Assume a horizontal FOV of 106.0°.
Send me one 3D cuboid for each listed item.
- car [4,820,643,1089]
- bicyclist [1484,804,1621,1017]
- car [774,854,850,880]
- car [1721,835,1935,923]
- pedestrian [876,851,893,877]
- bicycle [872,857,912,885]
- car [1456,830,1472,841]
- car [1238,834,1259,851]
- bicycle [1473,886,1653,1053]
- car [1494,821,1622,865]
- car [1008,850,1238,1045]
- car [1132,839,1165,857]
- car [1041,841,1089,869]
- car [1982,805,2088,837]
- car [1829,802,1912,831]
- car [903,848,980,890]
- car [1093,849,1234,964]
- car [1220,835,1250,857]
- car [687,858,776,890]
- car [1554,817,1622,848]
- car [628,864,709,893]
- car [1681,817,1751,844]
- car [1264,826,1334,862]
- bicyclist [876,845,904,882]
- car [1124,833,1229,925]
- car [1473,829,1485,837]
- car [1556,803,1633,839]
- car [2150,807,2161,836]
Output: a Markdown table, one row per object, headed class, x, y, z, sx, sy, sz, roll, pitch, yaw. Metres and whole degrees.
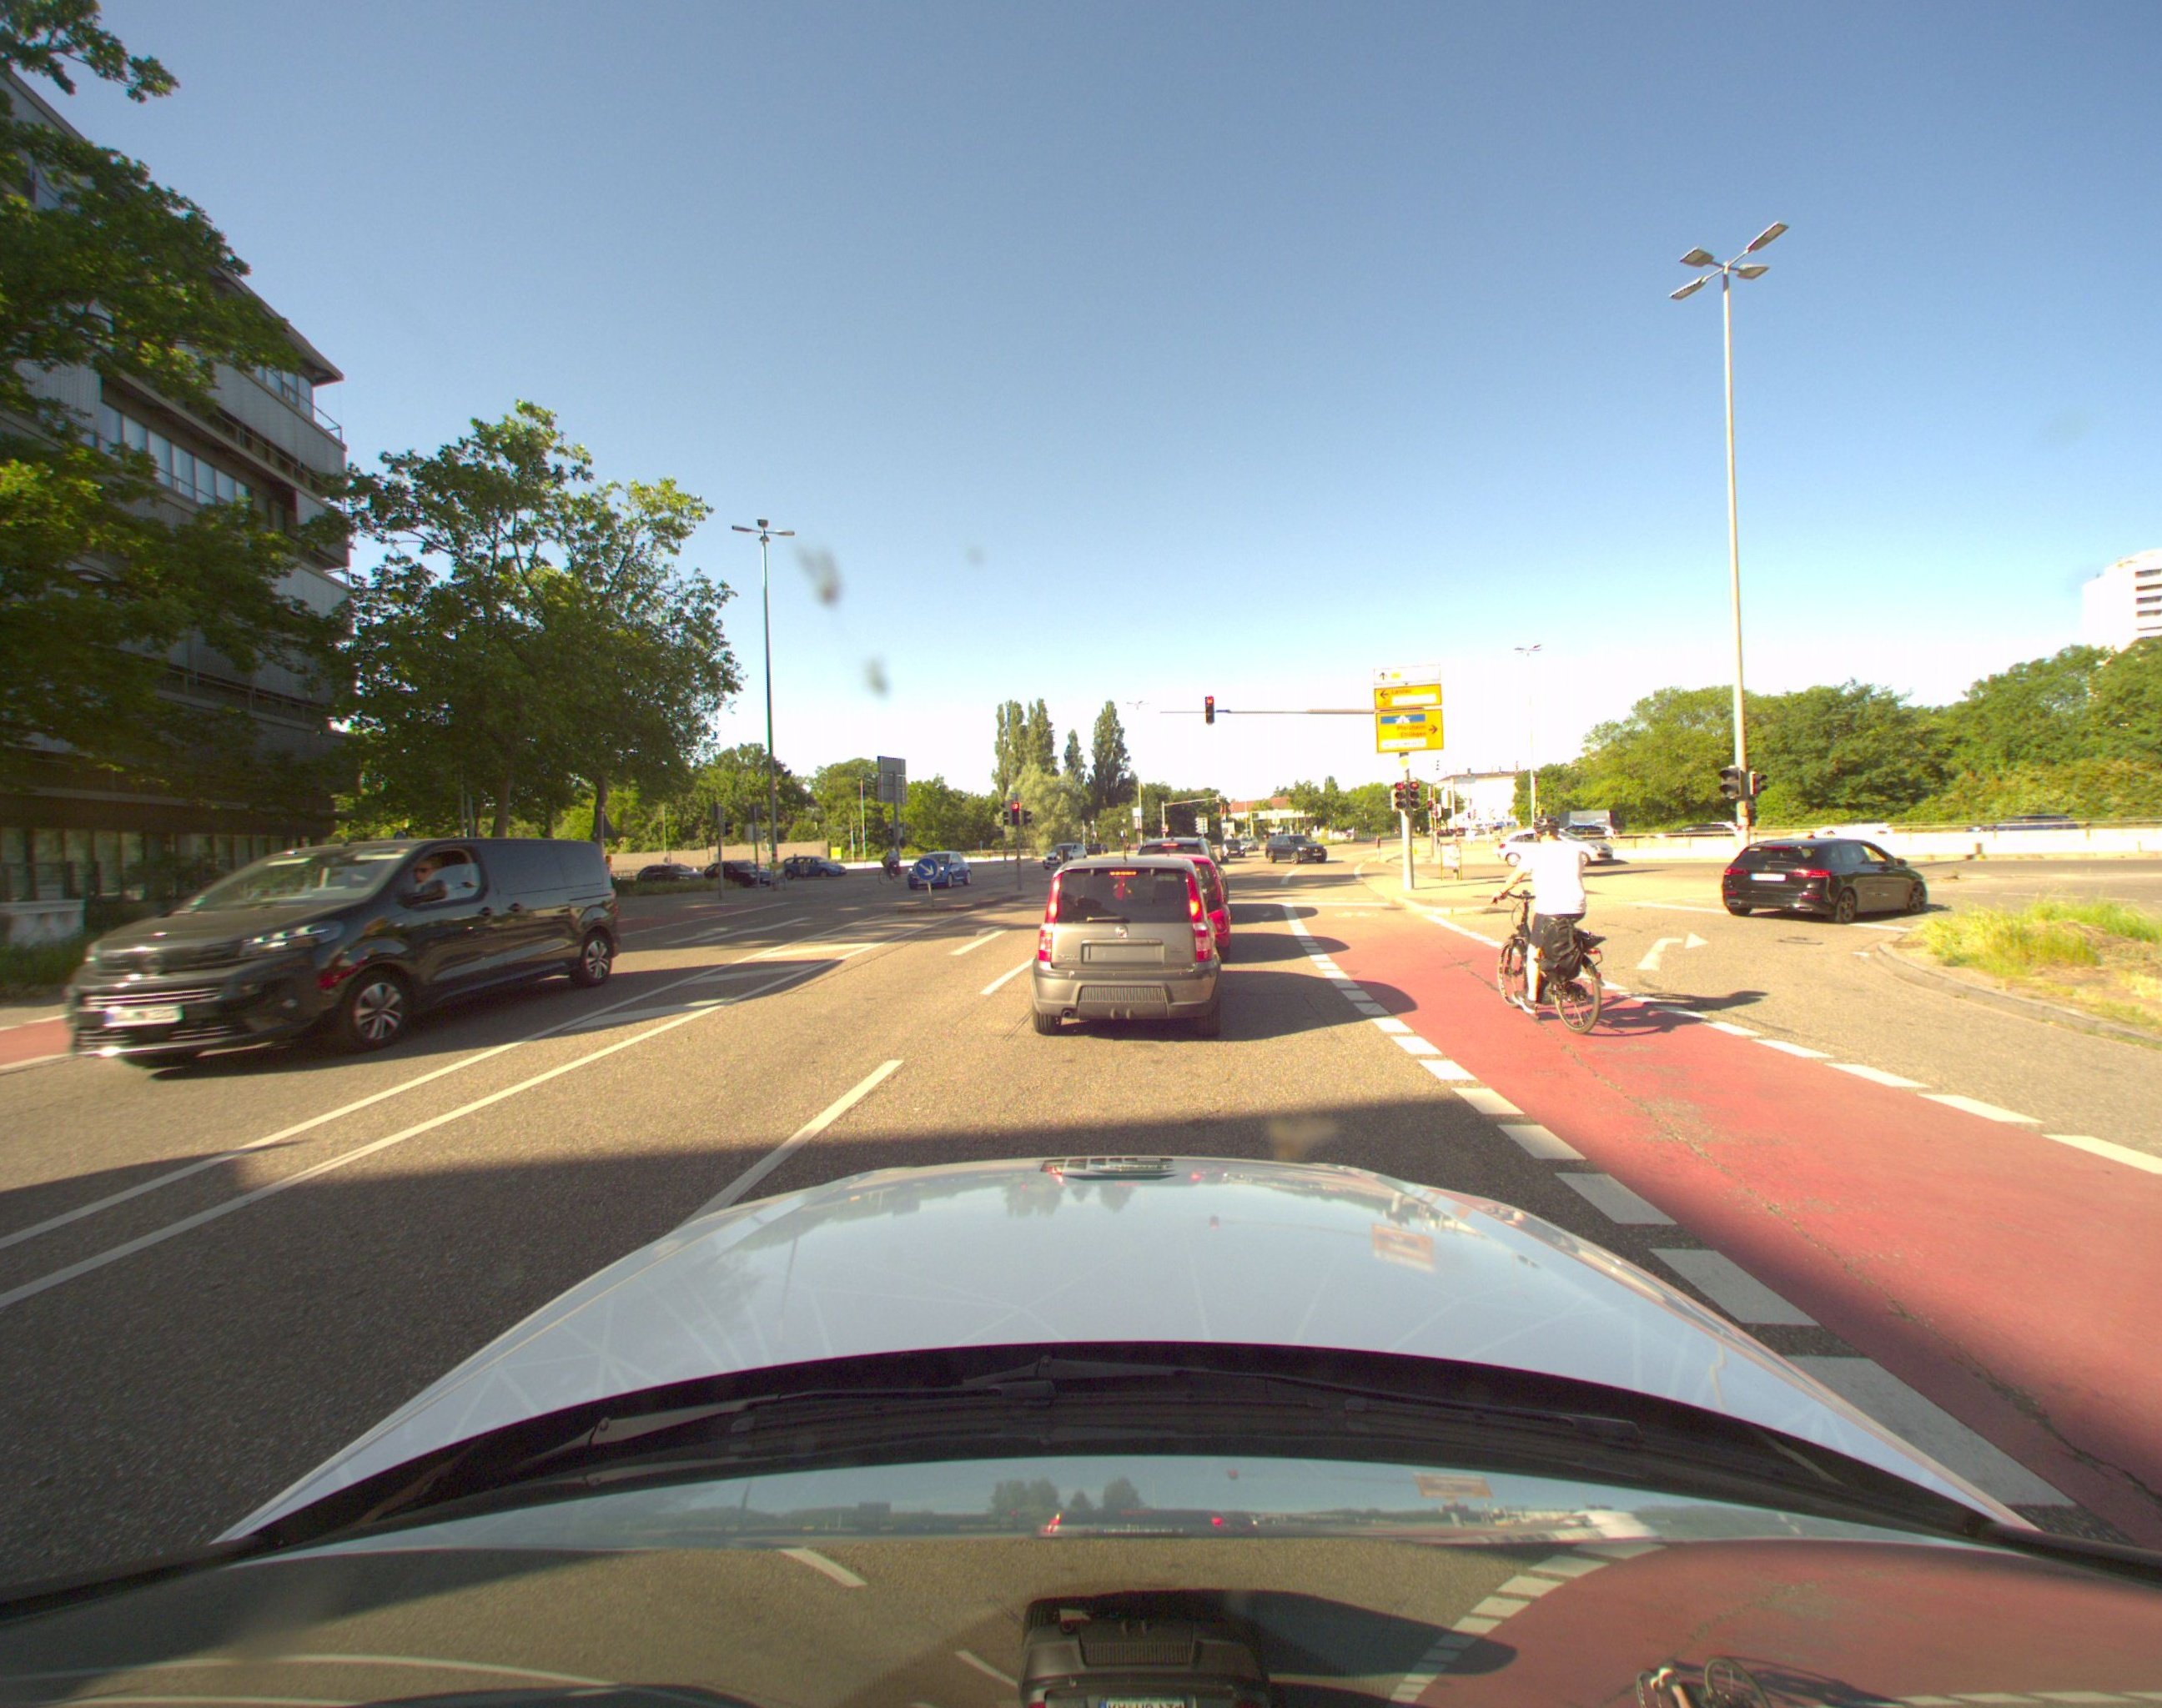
| class | x | y | z | sx | sy | sz | roll | pitch | yaw |
| --- | --- | --- | --- | --- | --- | --- | --- | --- | --- |
| car | -6.981 | 0.724 | 8.527 | 1.986 | 1.935 | 4.853 | -2 | 1 | 1 |
| bicyclist | 4.094 | 0.450 | 7.155 | 0.793 | 1.705 | 1.090 | -1 | 0 | 16 |
| car | -17.564 | 0.854 | 53.200 | 4.403 | 1.438 | 1.834 | -3 | 0 | 15 |
| car | 14.429 | 0.402 | 15.720 | 4.008 | 1.493 | 1.742 | -1 | 1 | -27 |
| pedestrian | -11.986 | 0.637 | 49.771 | 0.684 | 1.538 | 1.366 | -1 | -3 | 1 |
| bicycle | -9.054 | 0.791 | 39.103 | 0.681 | 1.202 | 2.338 | -2 | 1 | 18 |
| car | 66.941 | -3.182 | 142.269 | 1.974 | 1.794 | 4.025 | -2 | -2 | 32 |
| car | 16.308 | -1.160 | 79.158 | 1.738 | 1.493 | 4.366 | -1 | 2 | 14 |
| bicycle | 4.102 | 0.886 | 7.165 | 0.793 | 1.110 | 2.412 | -1 | 0 | 16 |
| car | 19.240 | -0.423 | 32.977 | 1.835 | 1.582 | 4.057 | -3 | 1 | -38 |
| car | 0.559 | 0.718 | 8.427 | 1.810 | 1.489 | 4.008 | 0 | 1 | 7 |
| car | 5.824 | -0.483 | 70.325 | 1.671 | 1.457 | 3.934 | -3 | -2 | 22 |
| car | -0.986 | 0.015 | 53.182 | 1.820 | 1.653 | 4.648 | -3 | 0 | 16 |
| car | 59.979 | -2.034 | 51.310 | 3.948 | 1.662 | 2.013 | -2 | -2 | 38 |
| car | 53.938 | -2.538 | 55.723 | 3.949 | 1.684 | 1.868 | -3 | -2 | 41 |
| car | -5.751 | 0.571 | 34.104 | 1.810 | 1.503 | 4.462 | -3 | 0 | 8 |
| car | 1.342 | 0.690 | 12.687 | 1.810 | 1.479 | 4.009 | -2 | 0 | 7 |
| car | 11.747 | -0.568 | 61.936 | 1.979 | 1.453 | 4.015 | -1 | -2 | 14 |
| car | -18.573 | 1.065 | 43.294 | 4.395 | 1.438 | 1.837 | -2 | 0 | 25 |
| car | 37.861 | -1.564 | 60.842 | 3.949 | 2.014 | 2.012 | -3 | -2 | 41 |
| car | -23.803 | 1.418 | 46.979 | 4.395 | 1.438 | 1.837 | -2 | 0 | 25 |
| car | 47.797 | -1.742 | 61.339 | 3.949 | 1.750 | 2.012 | -3 | -2 | 41 |
| car | 12.311 | -0.518 | 46.295 | 1.996 | 1.836 | 4.339 | -1 | -2 | -14 |
| bicyclist | -9.114 | 0.455 | 38.968 | 0.681 | 1.701 | 1.204 | -2 | 1 | 18 |
| car | 2.245 | 0.455 | 18.103 | 1.856 | 1.790 | 4.429 | -1 | 1 | 12 |
| car | 86.638 | -4.637 | 177.142 | 1.974 | 1.640 | 4.026 | -3 | 0 | 31 |
| car | 42.641 | -2.718 | 67.727 | 2.271 | 2.607 | 4.832 | 0 | -2 | -36 |
| car | 64.954 | -1.964 | 46.737 | 3.948 | 1.662 | 2.012 | -2 | -2 | 39 |
